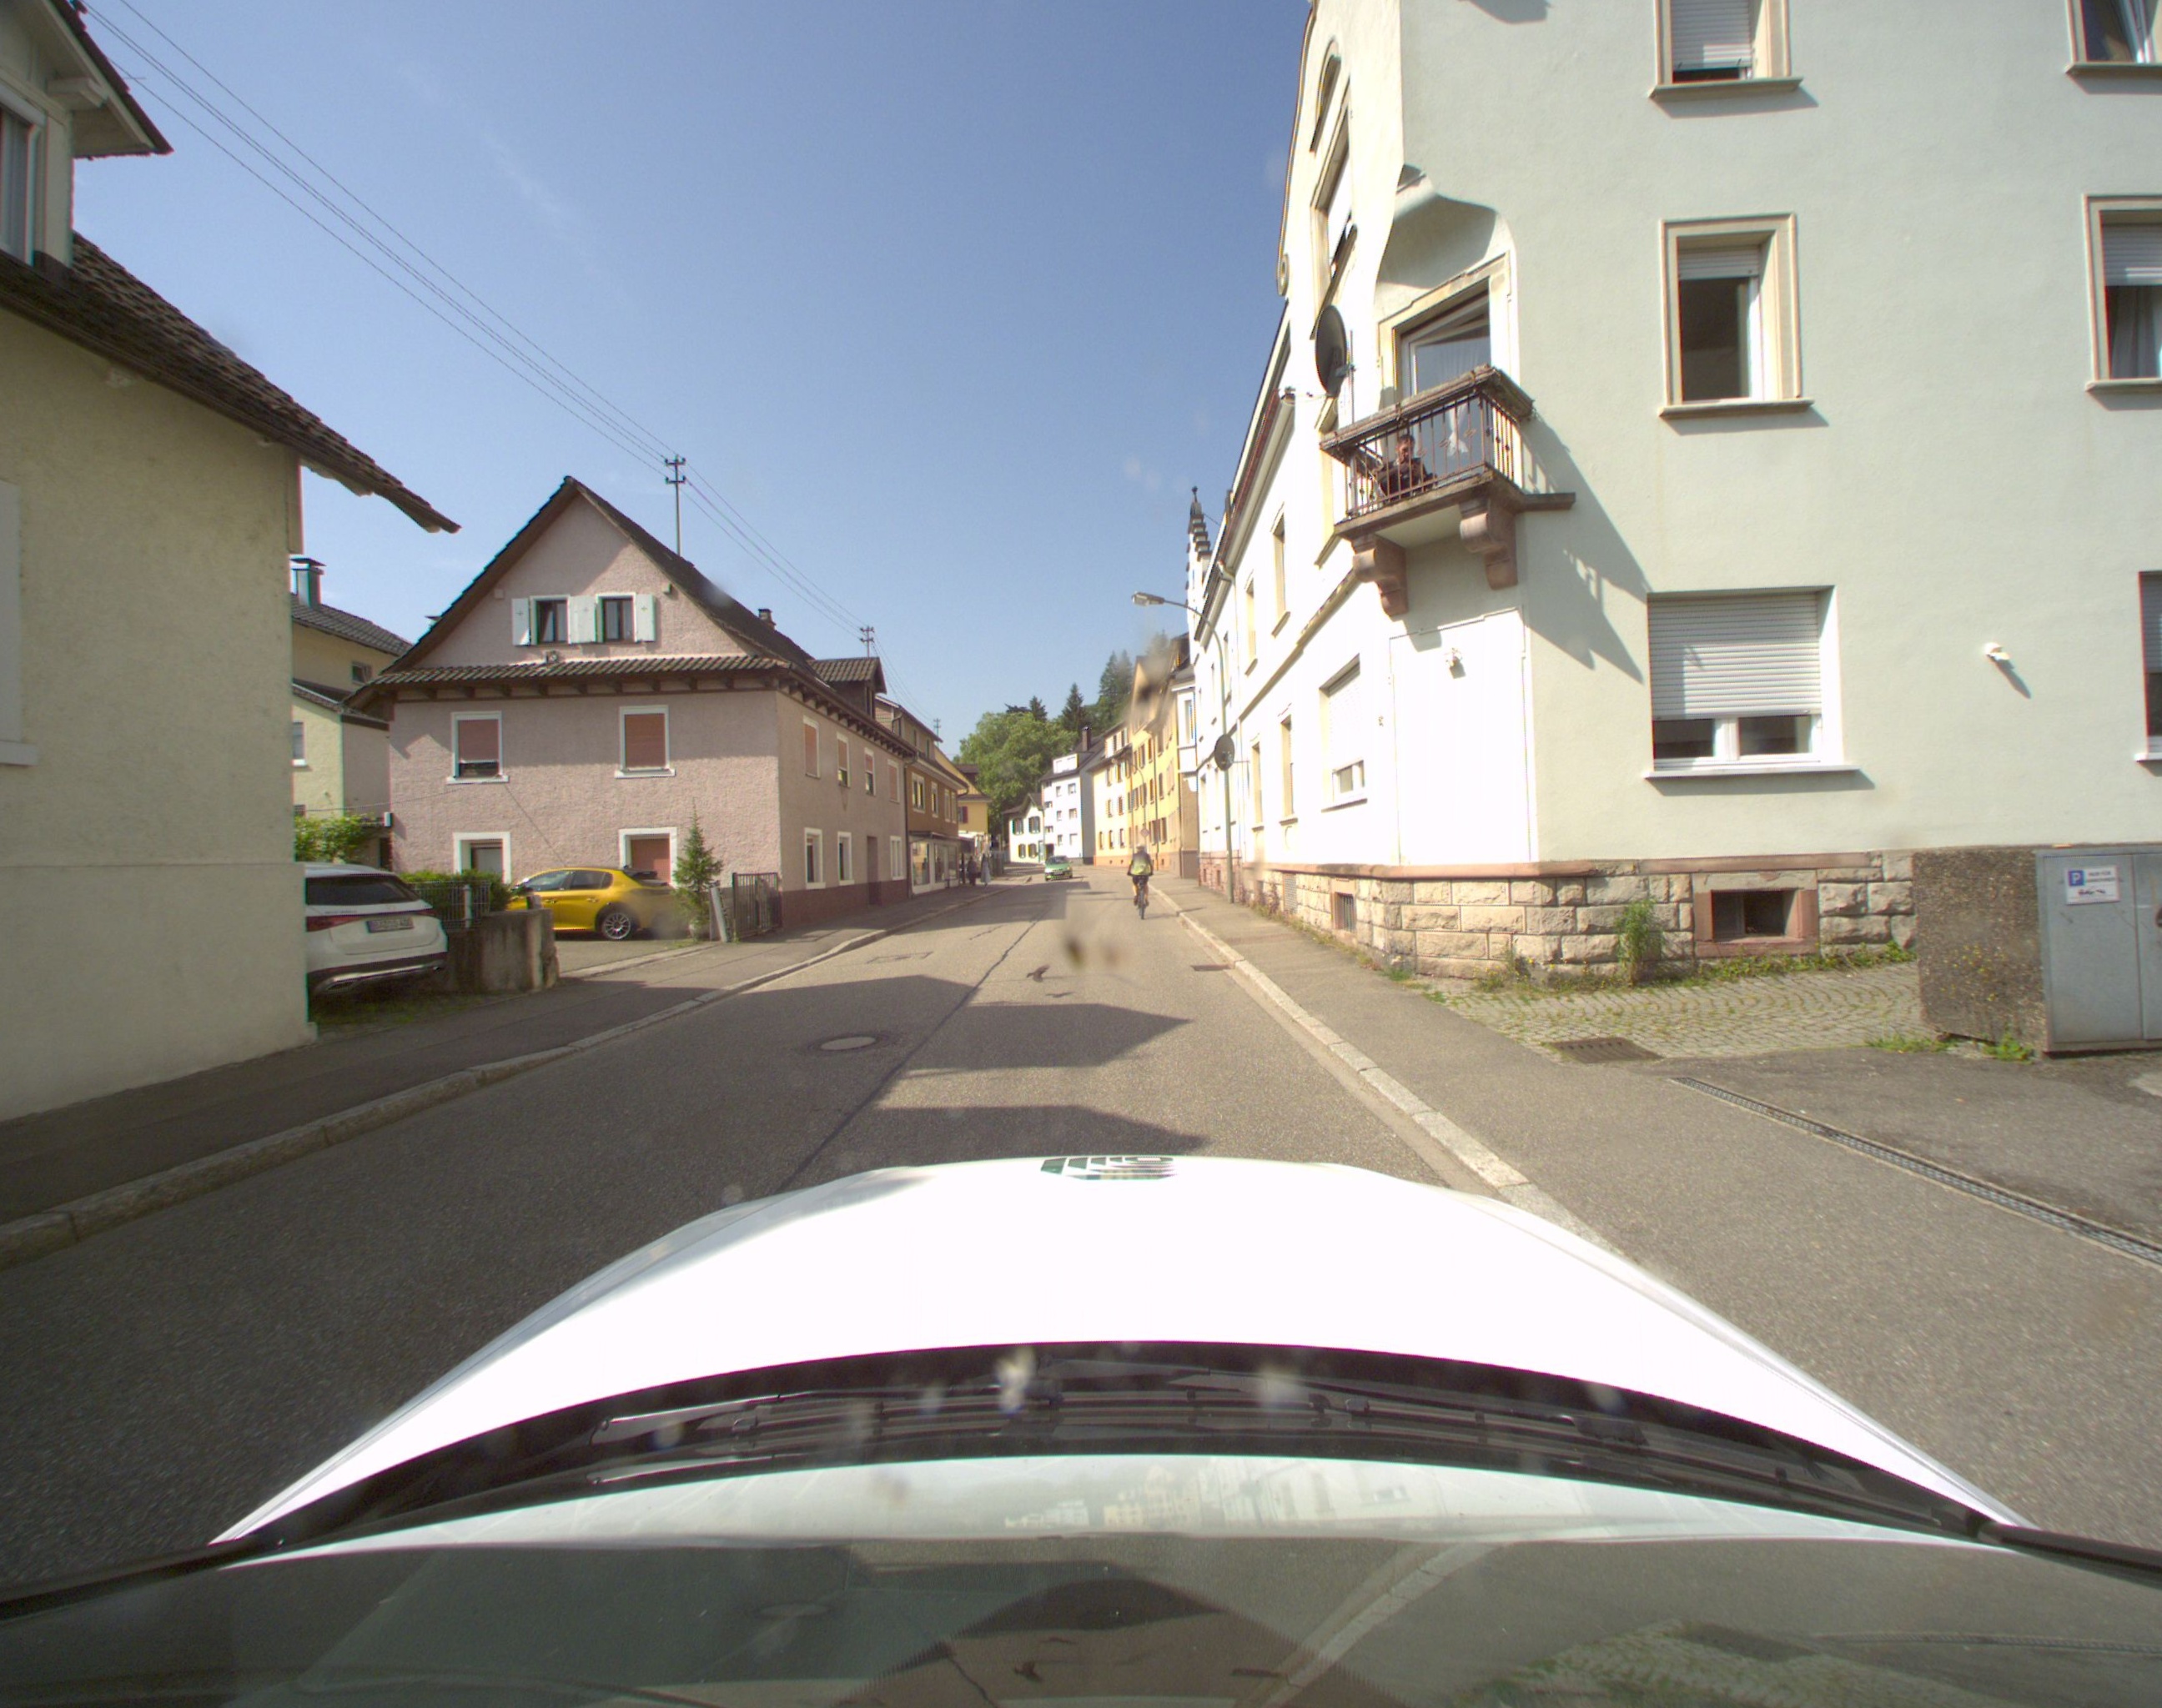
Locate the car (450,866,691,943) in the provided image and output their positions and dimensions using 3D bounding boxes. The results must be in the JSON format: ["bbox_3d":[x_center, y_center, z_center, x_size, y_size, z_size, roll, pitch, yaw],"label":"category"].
[{"bbox_3d":[-10.136,0.972,16.387,3.741,1.392,1.644,0,1,-2],"label":"car"}]

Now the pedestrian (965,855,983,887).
[{"bbox_3d":[-5.456,0.852,41.498,0.732,1.564,0.825,1,0,1],"label":"pedestrian"}]

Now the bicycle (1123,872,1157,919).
[{"bbox_3d":[1.395,0.964,19.440,0.696,1.035,1.471,-1,0,0],"label":"bicycle"}]

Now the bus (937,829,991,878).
[{"bbox_3d":[-8.227,-0.043,58.392,2.812,3.228,9.029,0,0,-2],"label":"bus"}]

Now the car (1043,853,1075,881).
[{"bbox_3d":[-1.303,0.766,49.843,1.591,1.464,3.661,-5,0,2],"label":"car"}]

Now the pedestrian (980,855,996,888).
[{"bbox_3d":[-4.708,0.876,41.341,0.637,1.626,0.777,1,0,1],"label":"pedestrian"}]

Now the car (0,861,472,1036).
[{"bbox_3d":[-9.223,0.903,8.662,3.976,1.594,1.906,-1,0,-2],"label":"car"}]

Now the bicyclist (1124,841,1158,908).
[{"bbox_3d":[1.420,0.487,19.392,0.683,1.531,0.715,-2,-1,-1],"label":"bicyclist"}]
